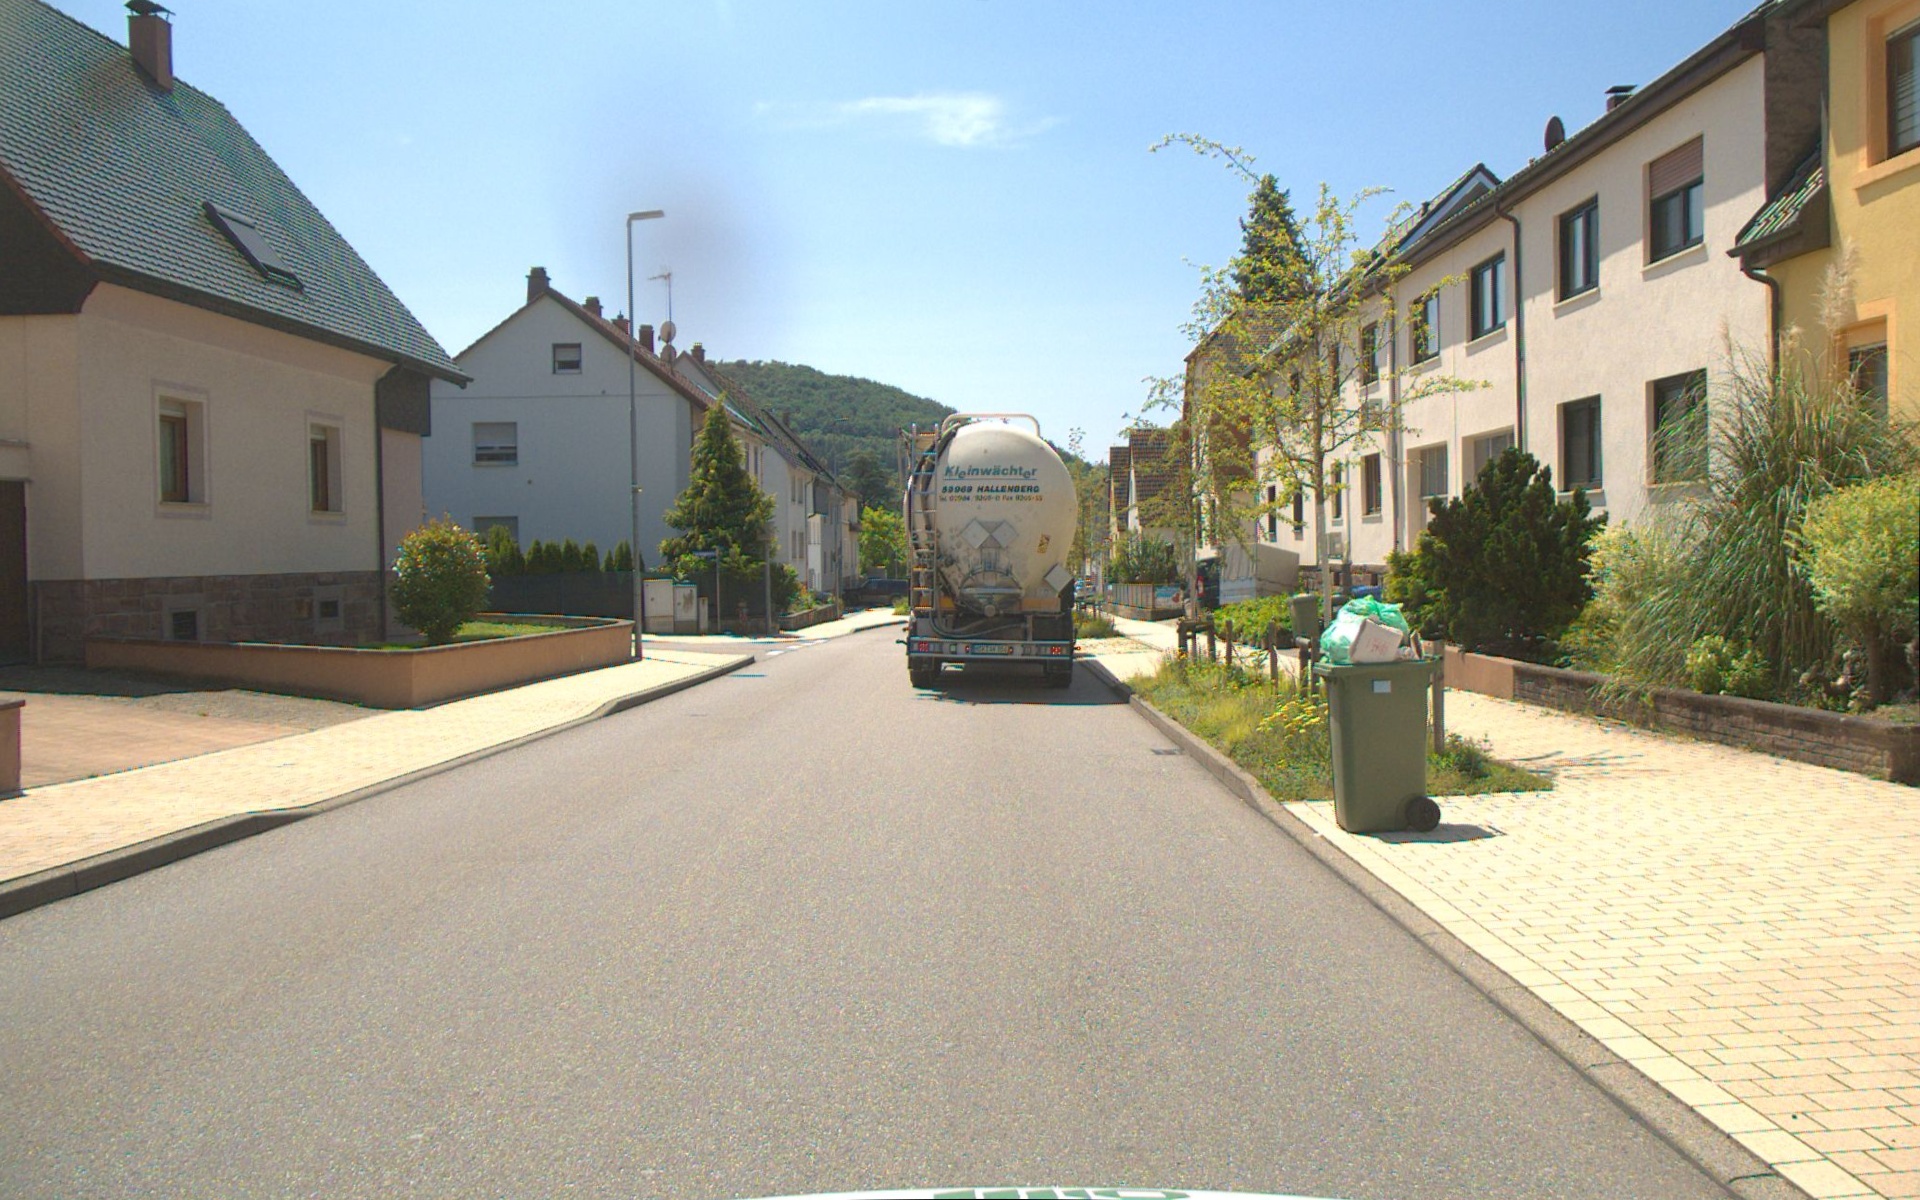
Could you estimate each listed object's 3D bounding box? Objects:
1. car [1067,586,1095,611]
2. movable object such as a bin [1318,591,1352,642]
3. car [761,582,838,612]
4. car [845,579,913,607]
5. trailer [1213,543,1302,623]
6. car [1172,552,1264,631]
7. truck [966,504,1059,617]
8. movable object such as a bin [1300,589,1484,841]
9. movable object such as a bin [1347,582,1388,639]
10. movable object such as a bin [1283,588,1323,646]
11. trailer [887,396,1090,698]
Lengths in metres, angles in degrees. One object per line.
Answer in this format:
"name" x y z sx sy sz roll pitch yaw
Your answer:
"car" 8.559 -0.120 116.893 1.754 1.568 4.521 -3 0 2
"movable object such as a bin" 7.781 0.337 34.354 0.546 1.003 0.803 -5 0 7
"car" -8.520 -0.163 88.118 3.904 1.572 1.833 0 1 1
"car" -5.198 -0.446 106.696 4.304 1.781 1.878 0 0 0
"trailer" 7.847 -0.448 43.525 1.301 2.049 2.259 0 0 43
"car" 7.459 -0.241 48.222 1.815 2.004 4.774 -6 0 1
"truck" 2.395 -1.840 80.007 3.831 4.981 9.794 -2 0 -1
"movable object such as a bin" 2.643 0.677 10.217 0.776 1.419 0.925 -5 0 -2
"movable object such as a bin" 8.444 0.207 34.299 0.670 1.125 0.863 -4 0 7
"movable object such as a bin" 7.101 0.345 34.237 0.670 1.134 0.813 -4 -1 6
"trailer" 0.524 -0.789 27.530 2.738 4.070 10.326 0 1 1
